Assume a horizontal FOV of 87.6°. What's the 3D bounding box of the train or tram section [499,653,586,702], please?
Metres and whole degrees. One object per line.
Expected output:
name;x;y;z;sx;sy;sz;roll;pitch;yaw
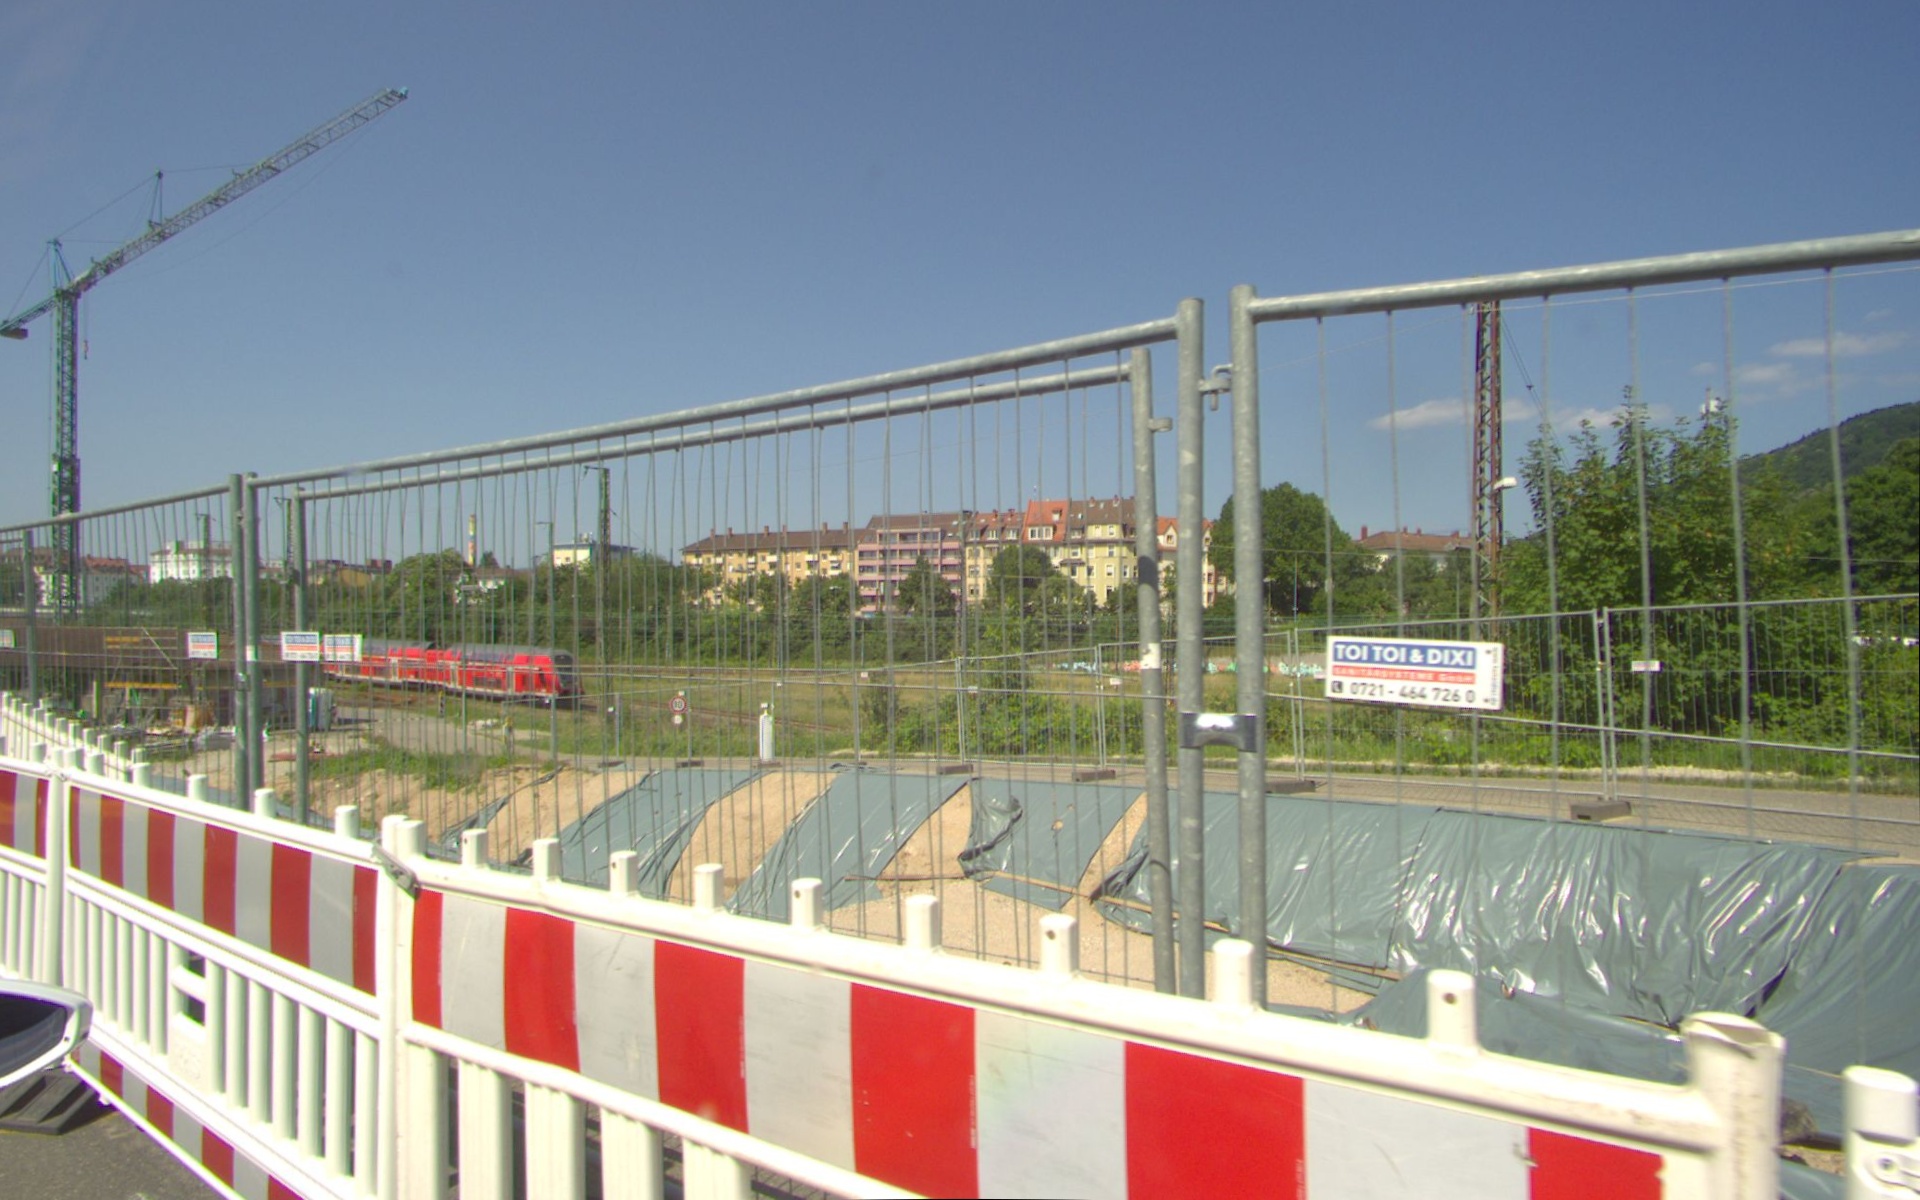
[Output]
train or tram section;-33.759;6.173;80.734;8.877;3.746;3.000;-2;-5;43

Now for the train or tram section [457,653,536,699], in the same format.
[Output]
train or tram section;-40.217;6.506;86.798;8.878;3.759;3.000;-2;-5;43

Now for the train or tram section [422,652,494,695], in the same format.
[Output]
train or tram section;-46.654;6.802;92.896;8.878;3.757;3.000;-2;-5;43
